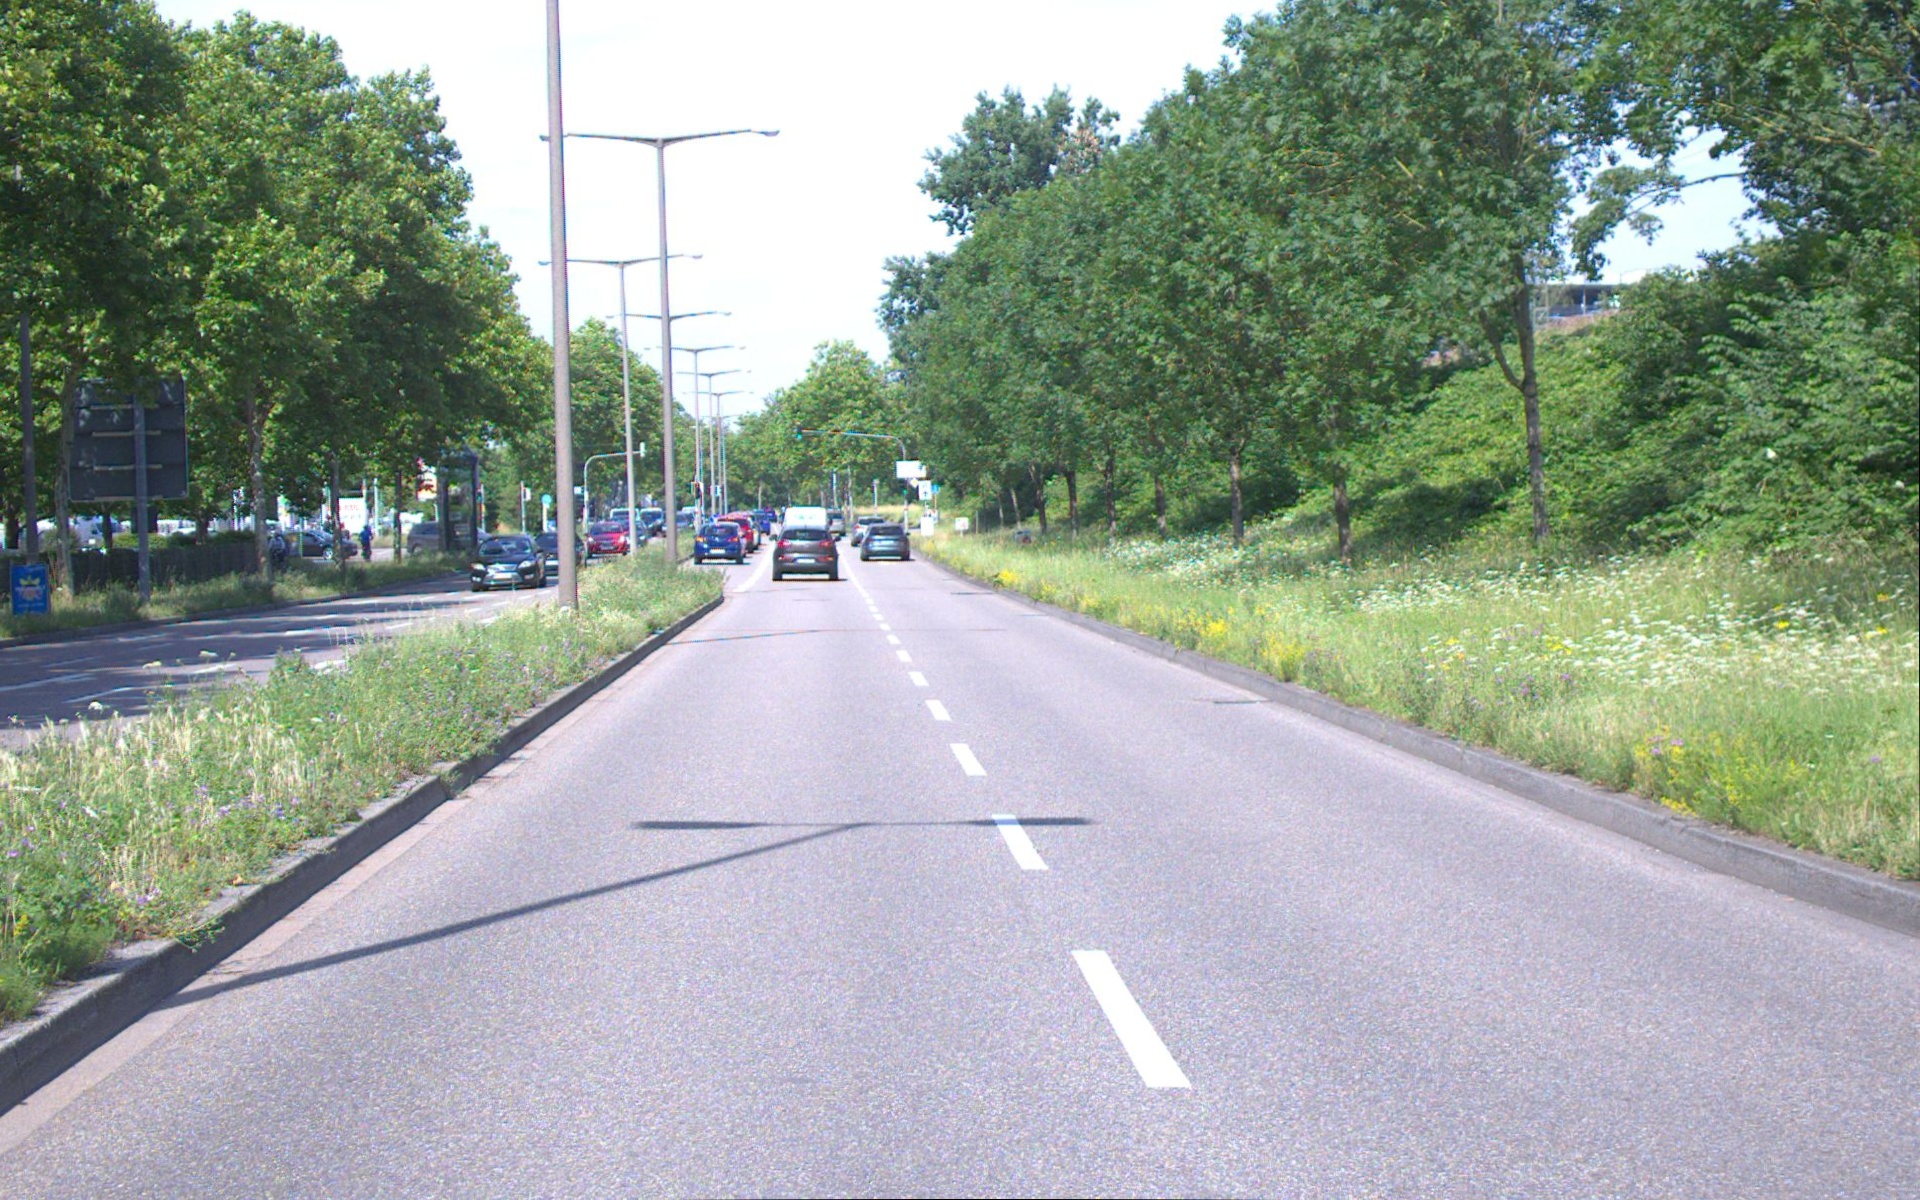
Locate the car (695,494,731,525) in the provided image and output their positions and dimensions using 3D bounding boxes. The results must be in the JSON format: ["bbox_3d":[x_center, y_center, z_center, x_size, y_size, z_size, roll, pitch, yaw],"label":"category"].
[{"bbox_3d":[-15.571,-5.697,216.926,1.993,1.853,4.000,-1,1,-1],"label":"car"}]

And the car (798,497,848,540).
[{"bbox_3d":[-5.652,-3.377,142.411,1.993,1.702,4.264,-1,1,-2],"label":"car"}]

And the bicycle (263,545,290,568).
[{"bbox_3d":[-26.259,-1.685,132.106,0.689,0.863,1.926,-2,1,-2],"label":"bicycle"}]

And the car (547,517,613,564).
[{"bbox_3d":[-12.543,-1.981,113.748,1.772,1.462,4.672,-2,1,-2],"label":"car"}]

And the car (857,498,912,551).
[{"bbox_3d":[-2.896,-2.902,130.707,2.018,1.831,4.001,0,4,-2],"label":"car"}]

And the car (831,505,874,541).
[{"bbox_3d":[-5.212,-3.719,166.517,1.993,1.702,4.264,-1,1,-2],"label":"car"}]

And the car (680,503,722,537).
[{"bbox_3d":[-13.449,-4.168,178.802,1.993,1.702,4.264,-1,1,-2],"label":"car"}]

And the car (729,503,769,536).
[{"bbox_3d":[-9.526,-3.647,155.566,1.766,1.474,4.136,0,2,-3],"label":"car"}]

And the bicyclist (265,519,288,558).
[{"bbox_3d":[-26.296,-2.371,132.241,0.681,1.480,0.942,-2,1,-2],"label":"bicyclist"}]

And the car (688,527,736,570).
[{"bbox_3d":[-8.876,-1.871,123.201,1.626,1.478,4.049,1,2,-3],"label":"car"}]

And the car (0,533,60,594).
[{"bbox_3d":[-29.368,-1.087,103.359,3.987,1.816,2.156,0,1,2],"label":"car"}]

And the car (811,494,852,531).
[{"bbox_3d":[-7.211,-4.908,192.489,1.993,2.007,4.001,-1,1,-6],"label":"car"}]

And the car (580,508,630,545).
[{"bbox_3d":[-15.158,-3.142,146.881,1.763,1.457,4.001,-2,1,-2],"label":"car"}]

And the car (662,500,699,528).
[{"bbox_3d":[-18.194,-5.584,223.792,1.993,1.769,4.000,-1,1,0],"label":"car"}]

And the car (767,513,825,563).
[{"bbox_3d":[-5.822,-2.206,122.060,1.993,1.678,4.001,-1,2,-3],"label":"car"}]

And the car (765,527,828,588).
[{"bbox_3d":[-4.673,-1.249,98.546,1.736,1.530,4.001,0,4,-2],"label":"car"}]

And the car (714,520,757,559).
[{"bbox_3d":[-9.529,-2.587,146.224,1.782,1.587,4.594,0,2,-3],"label":"car"}]

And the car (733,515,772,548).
[{"bbox_3d":[-10.241,-3.400,169.741,1.881,1.612,4.213,-1,1,-3],"label":"car"}]

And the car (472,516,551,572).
[{"bbox_3d":[-12.333,-1.547,94.742,1.827,1.462,4.989,-1,1,-4],"label":"car"}]
